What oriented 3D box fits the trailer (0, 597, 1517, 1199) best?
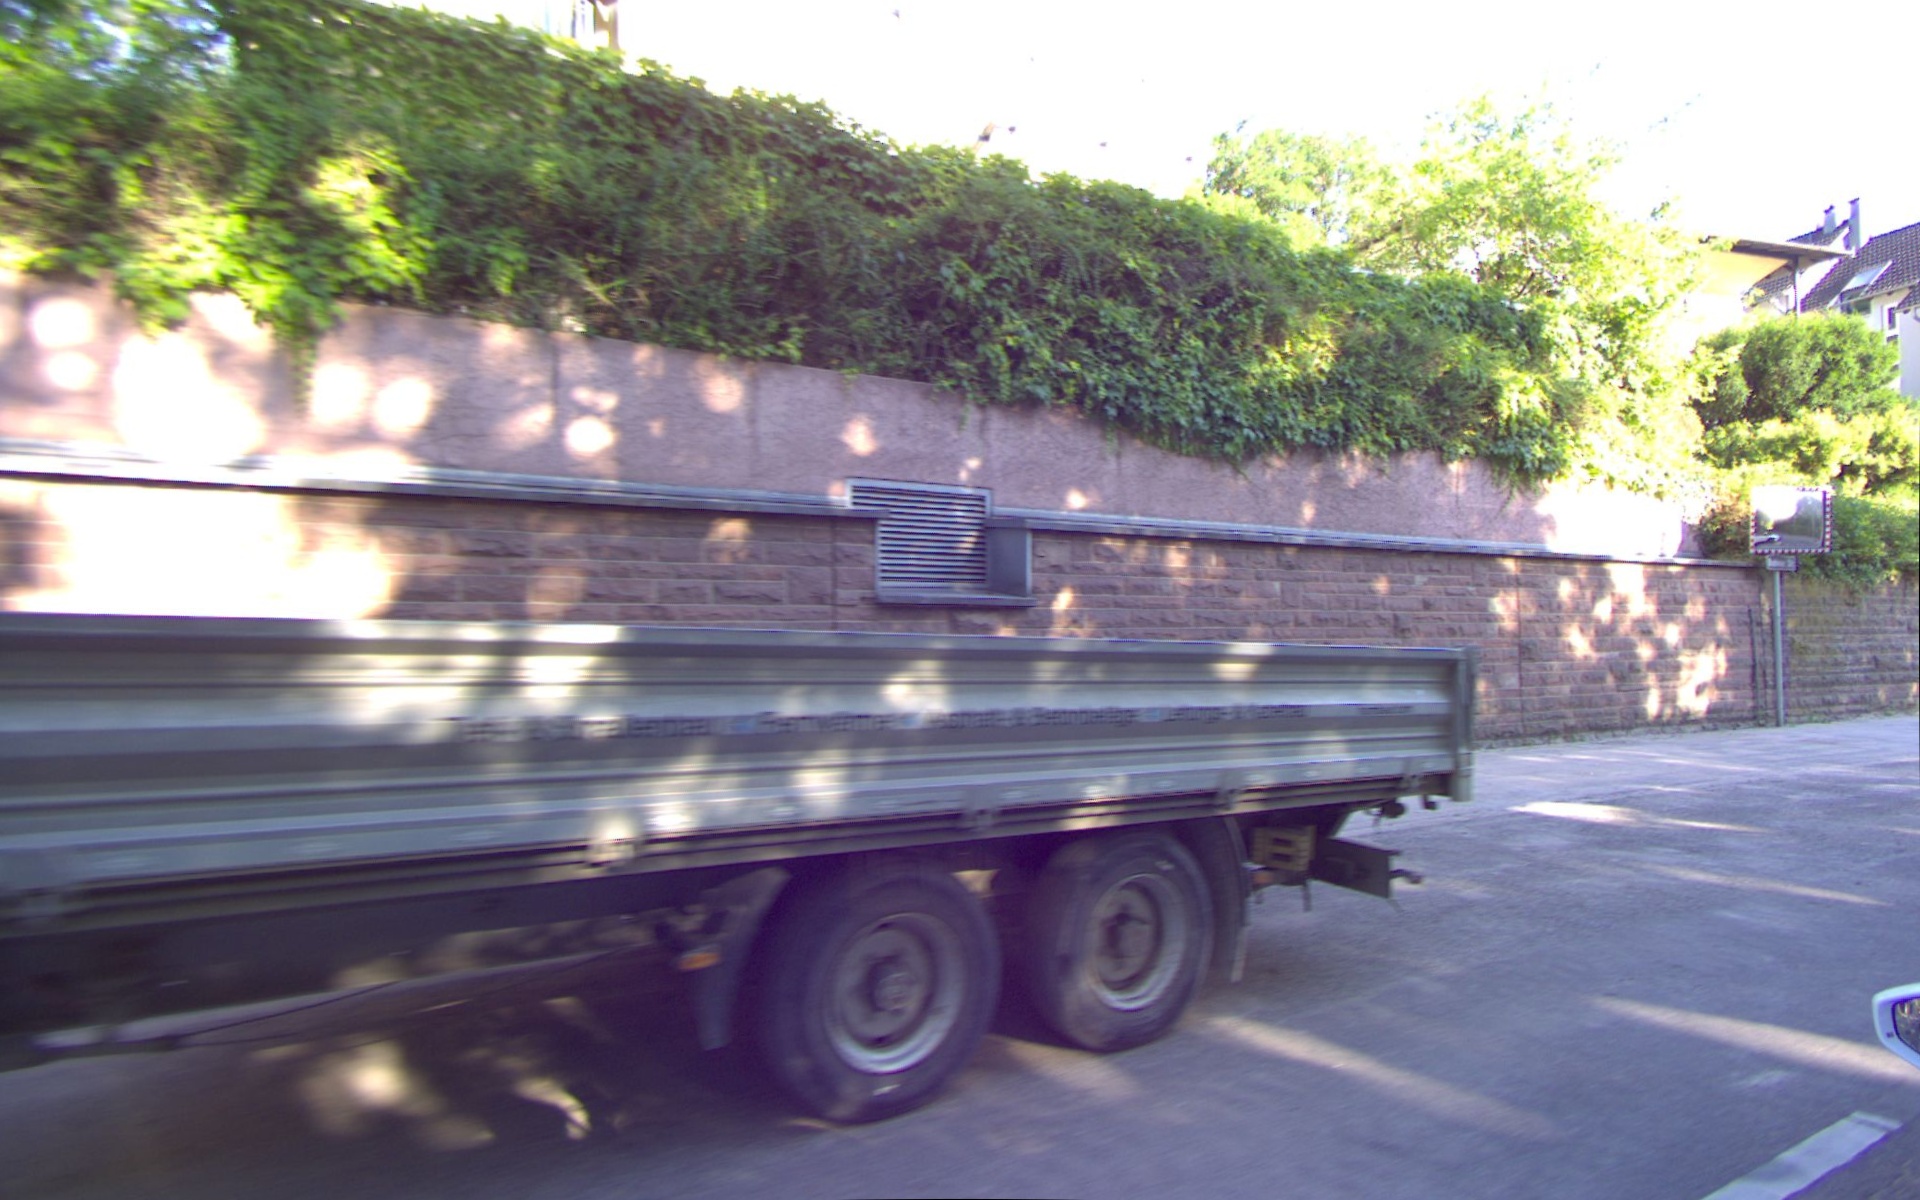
[{"bbox_3d":[-1.233,0.787,3.675,7.037,1.509,2.626,1,-1,-31],"label":"trailer"}]
